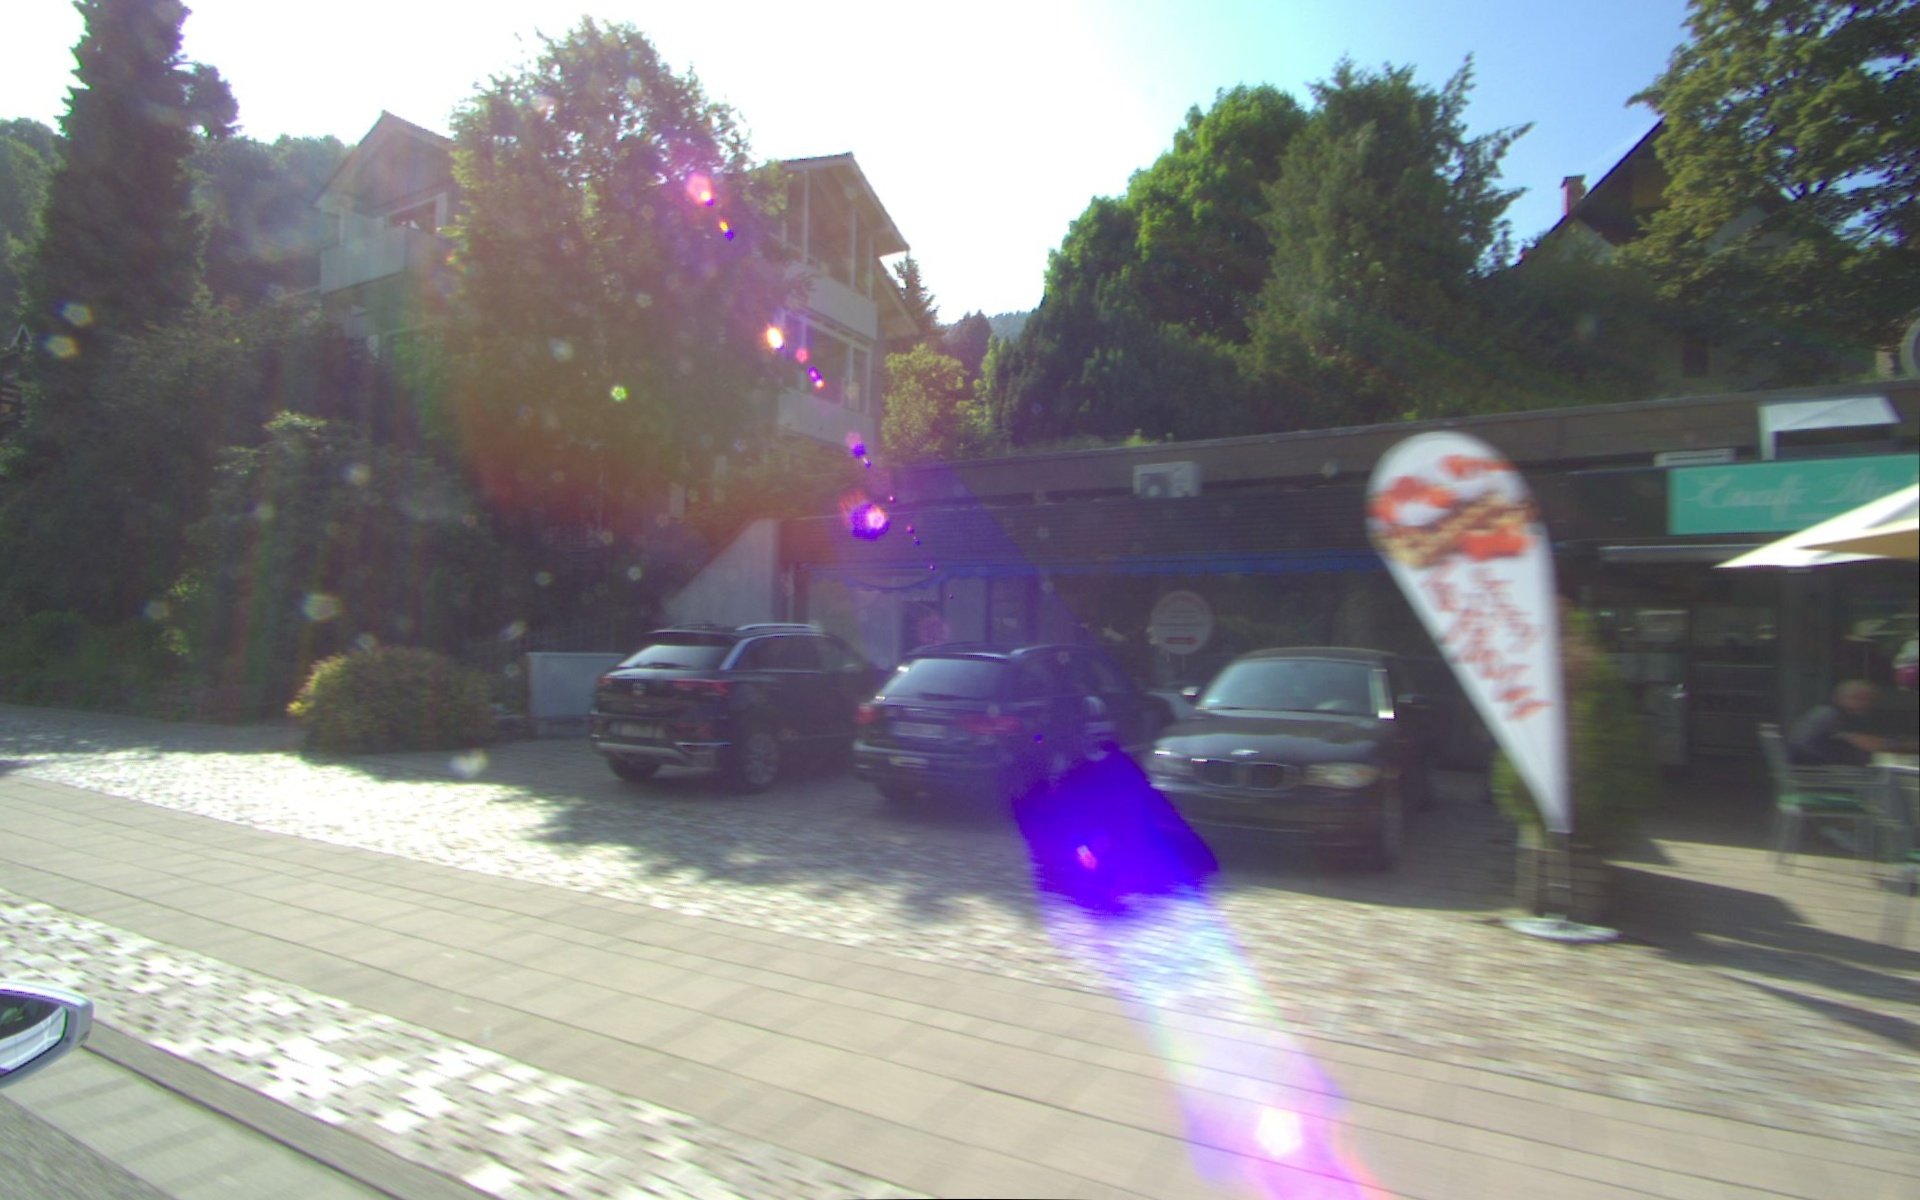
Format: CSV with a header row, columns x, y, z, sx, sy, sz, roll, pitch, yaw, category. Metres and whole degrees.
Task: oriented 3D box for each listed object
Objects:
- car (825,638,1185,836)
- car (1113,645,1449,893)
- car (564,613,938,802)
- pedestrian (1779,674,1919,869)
x,y,z,sx,sy,sz,roll,pitch,yaw,category
0.670,1.099,9.571,1.723,1.433,4.105,0,-2,31,car
2.814,1.075,8.040,1.684,1.396,4.258,0,-2,31,car
-1.992,0.991,10.632,1.722,1.600,3.871,0,-2,31,car
6.618,1.207,7.329,0.691,1.277,0.807,1,-1,-34,pedestrian
